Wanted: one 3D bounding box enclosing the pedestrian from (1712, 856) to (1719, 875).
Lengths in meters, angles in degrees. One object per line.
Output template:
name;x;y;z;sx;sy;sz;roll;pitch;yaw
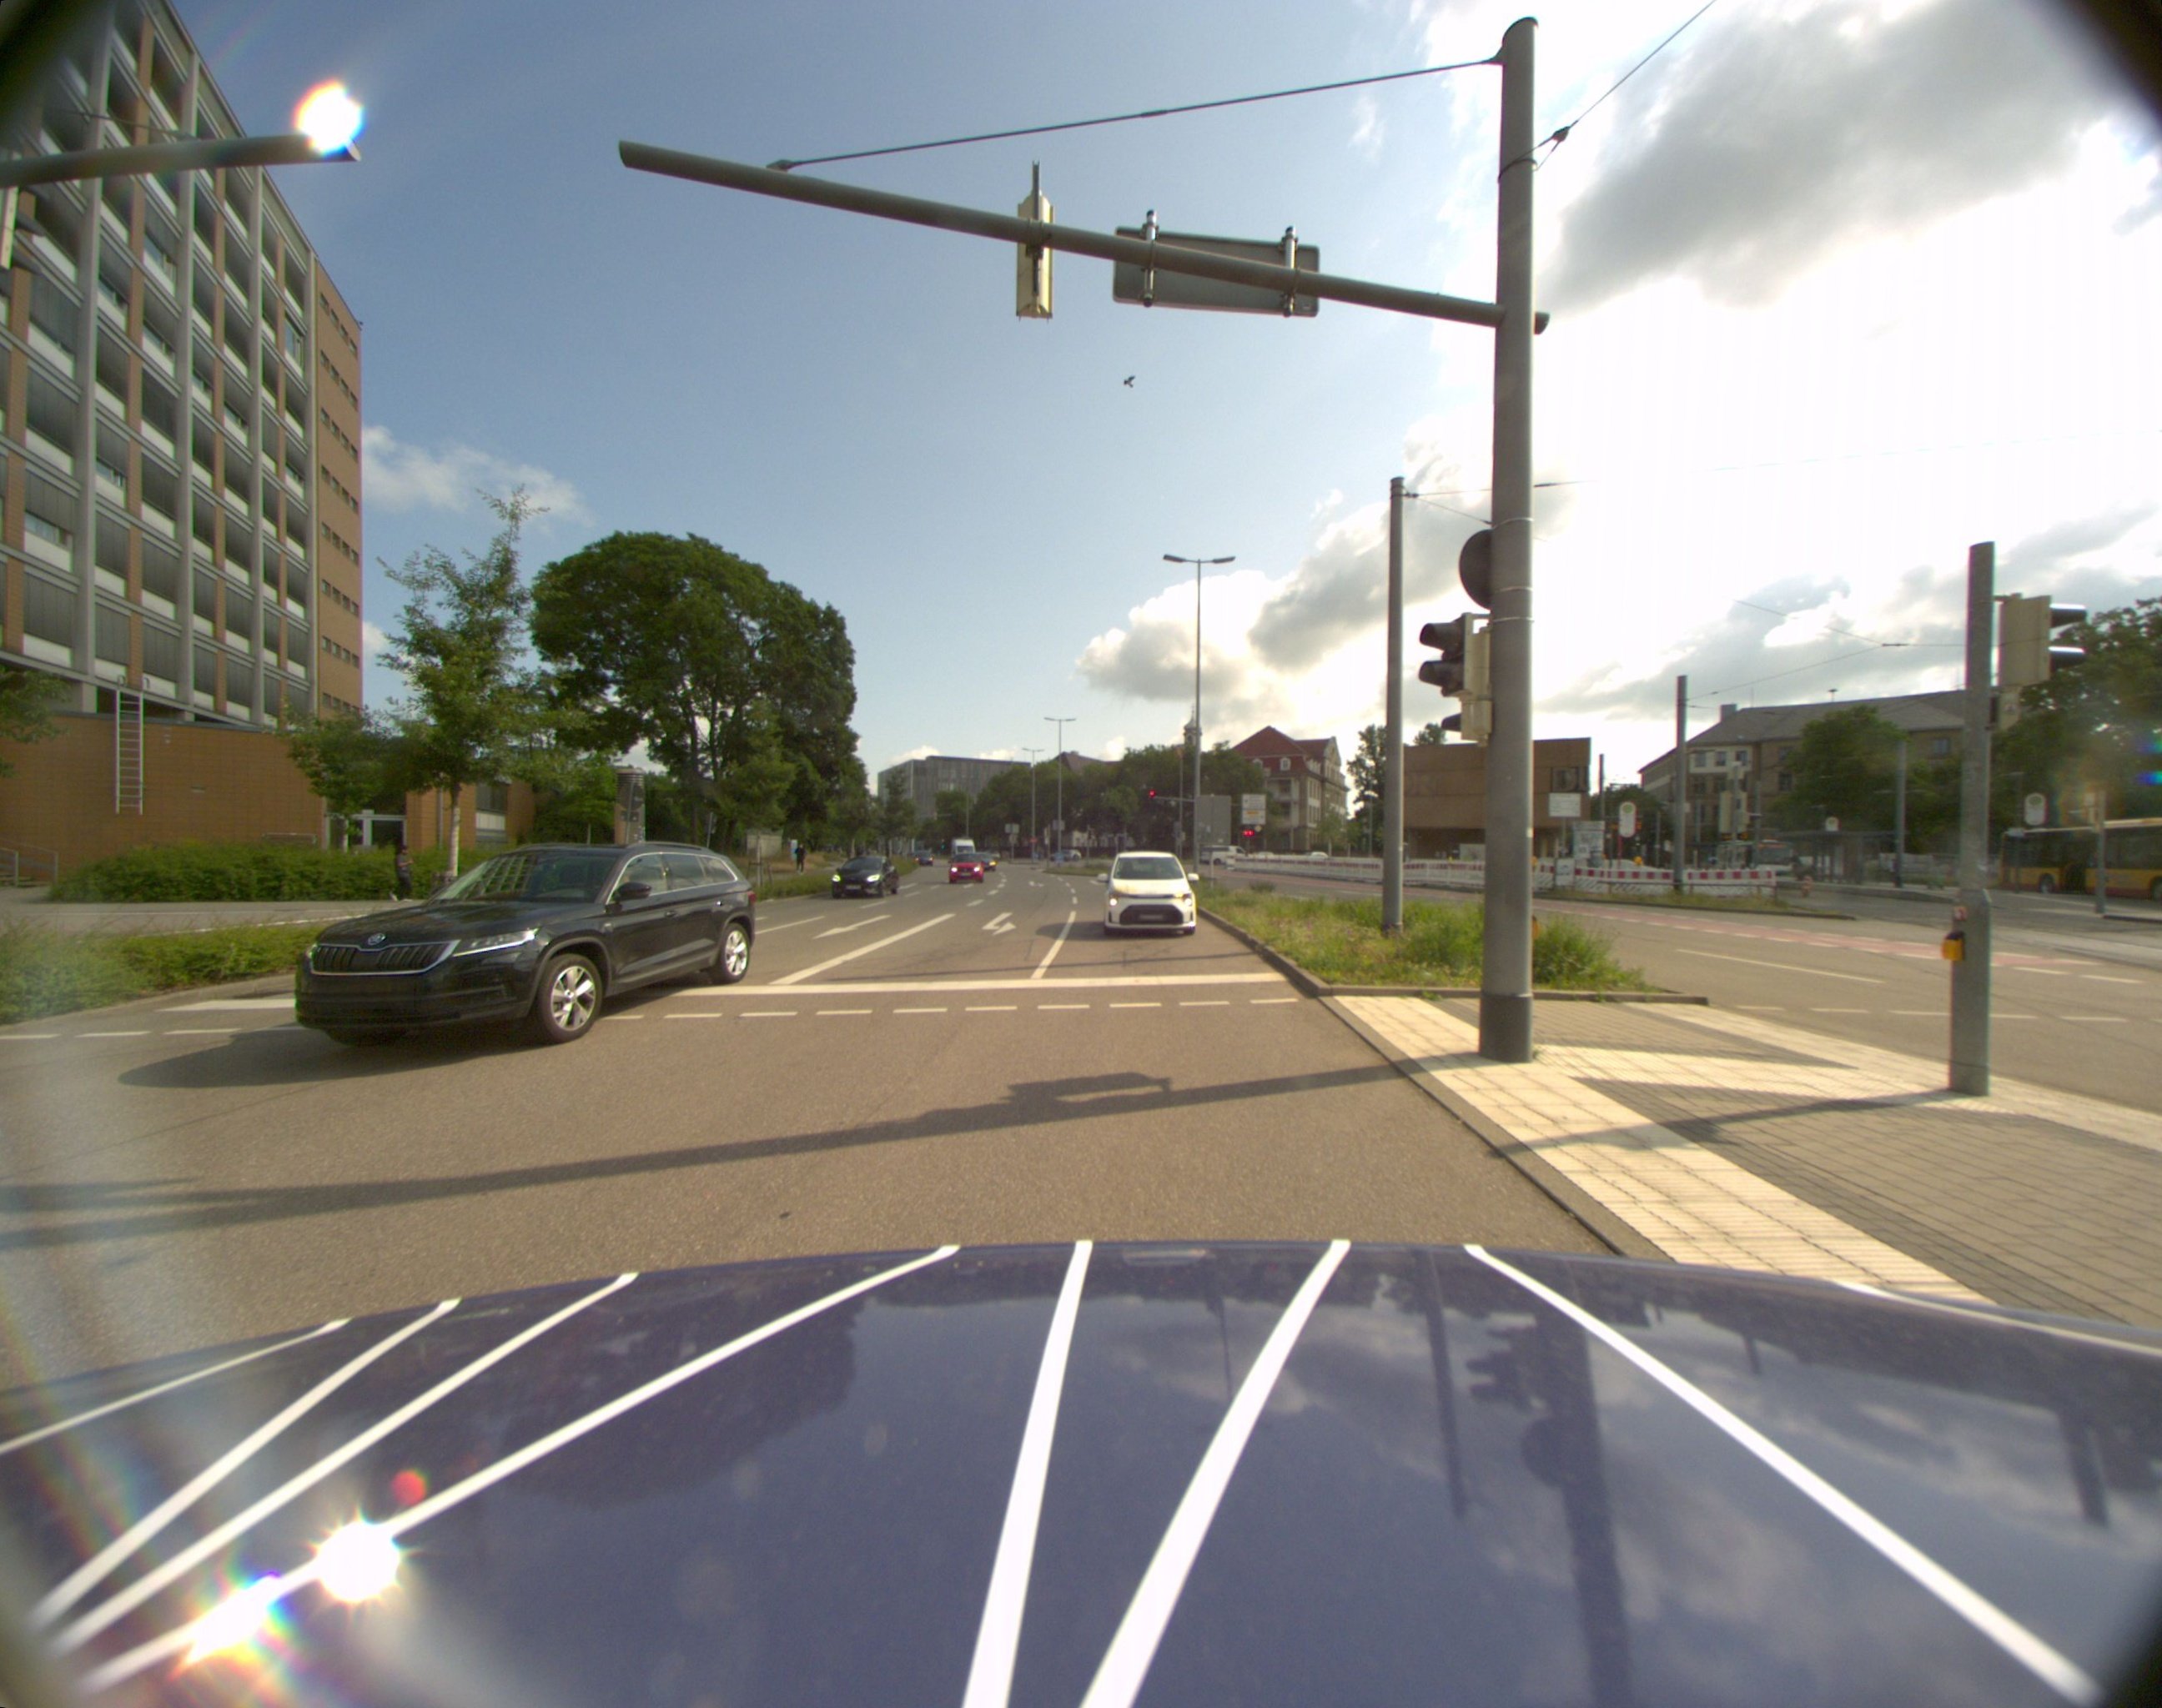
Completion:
pedestrian;51.507;0.933;61.682;0.357;1.593;0.365;-2;1;22

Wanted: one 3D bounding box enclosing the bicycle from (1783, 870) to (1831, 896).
bicycle;29.172;1.159;30.572;0.810;0.986;2.074;-3;-2;27

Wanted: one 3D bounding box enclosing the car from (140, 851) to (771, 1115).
car;-5.021;0.838;7.274;1.998;1.659;4.684;-1;1;2

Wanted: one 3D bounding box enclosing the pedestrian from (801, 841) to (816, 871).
pedestrian;-16.372;0.128;45.657;0.671;1.736;0.645;2;1;2

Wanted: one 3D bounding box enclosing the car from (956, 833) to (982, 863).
car;-11.314;-0.626;76.404;2.486;2.862;6.143;0;0;-9

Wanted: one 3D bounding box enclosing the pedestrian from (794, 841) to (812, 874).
pedestrian;-15.651;0.185;42.781;0.760;1.860;0.645;1;1;2

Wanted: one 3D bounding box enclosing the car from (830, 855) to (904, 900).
car;-7.599;0.805;27.295;1.713;1.445;3.999;-1;0;-4

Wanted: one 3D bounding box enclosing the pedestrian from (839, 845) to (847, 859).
pedestrian;-32.553;-0.265;103.811;0.988;2.002;1.128;0;1;-15

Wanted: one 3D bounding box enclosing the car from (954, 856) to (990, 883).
car;-5.543;0.763;38.913;1.609;1.207;3.008;-3;1;-5

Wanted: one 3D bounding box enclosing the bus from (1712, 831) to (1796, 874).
bus;59.908;-0.238;68.018;2.957;3.487;12.275;-2;0;29

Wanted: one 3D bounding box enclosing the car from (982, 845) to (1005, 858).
car;-13.047;-0.314;112.754;2.002;1.674;4.334;-3;0;-26

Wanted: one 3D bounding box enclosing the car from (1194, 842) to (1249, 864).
car;14.308;-0.114;77.264;5.077;2.002;1.997;-3;0;-18

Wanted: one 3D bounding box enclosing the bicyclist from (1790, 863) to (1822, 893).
bicyclist;29.175;0.966;30.599;0.695;1.145;0.740;-3;-2;27

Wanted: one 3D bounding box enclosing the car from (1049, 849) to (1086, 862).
car;-1.676;0.182;94.152;2.004;1.559;4.769;-1;0;-40

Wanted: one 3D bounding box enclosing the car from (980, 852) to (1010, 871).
car;-6.554;0.570;58.301;1.999;1.273;4.543;-3;0;-3

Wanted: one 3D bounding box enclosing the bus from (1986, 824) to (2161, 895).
bus;39.619;0.190;30.392;2.694;2.572;5.087;1;1;29

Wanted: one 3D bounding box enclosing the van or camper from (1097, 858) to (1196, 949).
van or camper;1.207;0.835;14.624;1.627;1.467;4.001;-1;0;3

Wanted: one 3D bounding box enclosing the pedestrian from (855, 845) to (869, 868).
pedestrian;-19.212;0.239;66.630;0.988;2.002;1.129;-3;1;-15

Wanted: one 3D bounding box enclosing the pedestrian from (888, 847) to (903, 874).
pedestrian;-14.494;0.508;59.385;0.988;2.002;1.129;-3;1;-15

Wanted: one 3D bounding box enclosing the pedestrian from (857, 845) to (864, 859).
pedestrian;-32.866;-0.303;113.402;0.988;2.002;1.128;0;1;-15

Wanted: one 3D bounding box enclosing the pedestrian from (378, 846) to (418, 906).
pedestrian;-17.740;0.561;19.731;0.479;1.512;0.581;0;1;14

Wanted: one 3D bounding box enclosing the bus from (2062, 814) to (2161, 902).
bus;36.664;0.141;25.025;2.693;2.817;7.114;1;1;29
